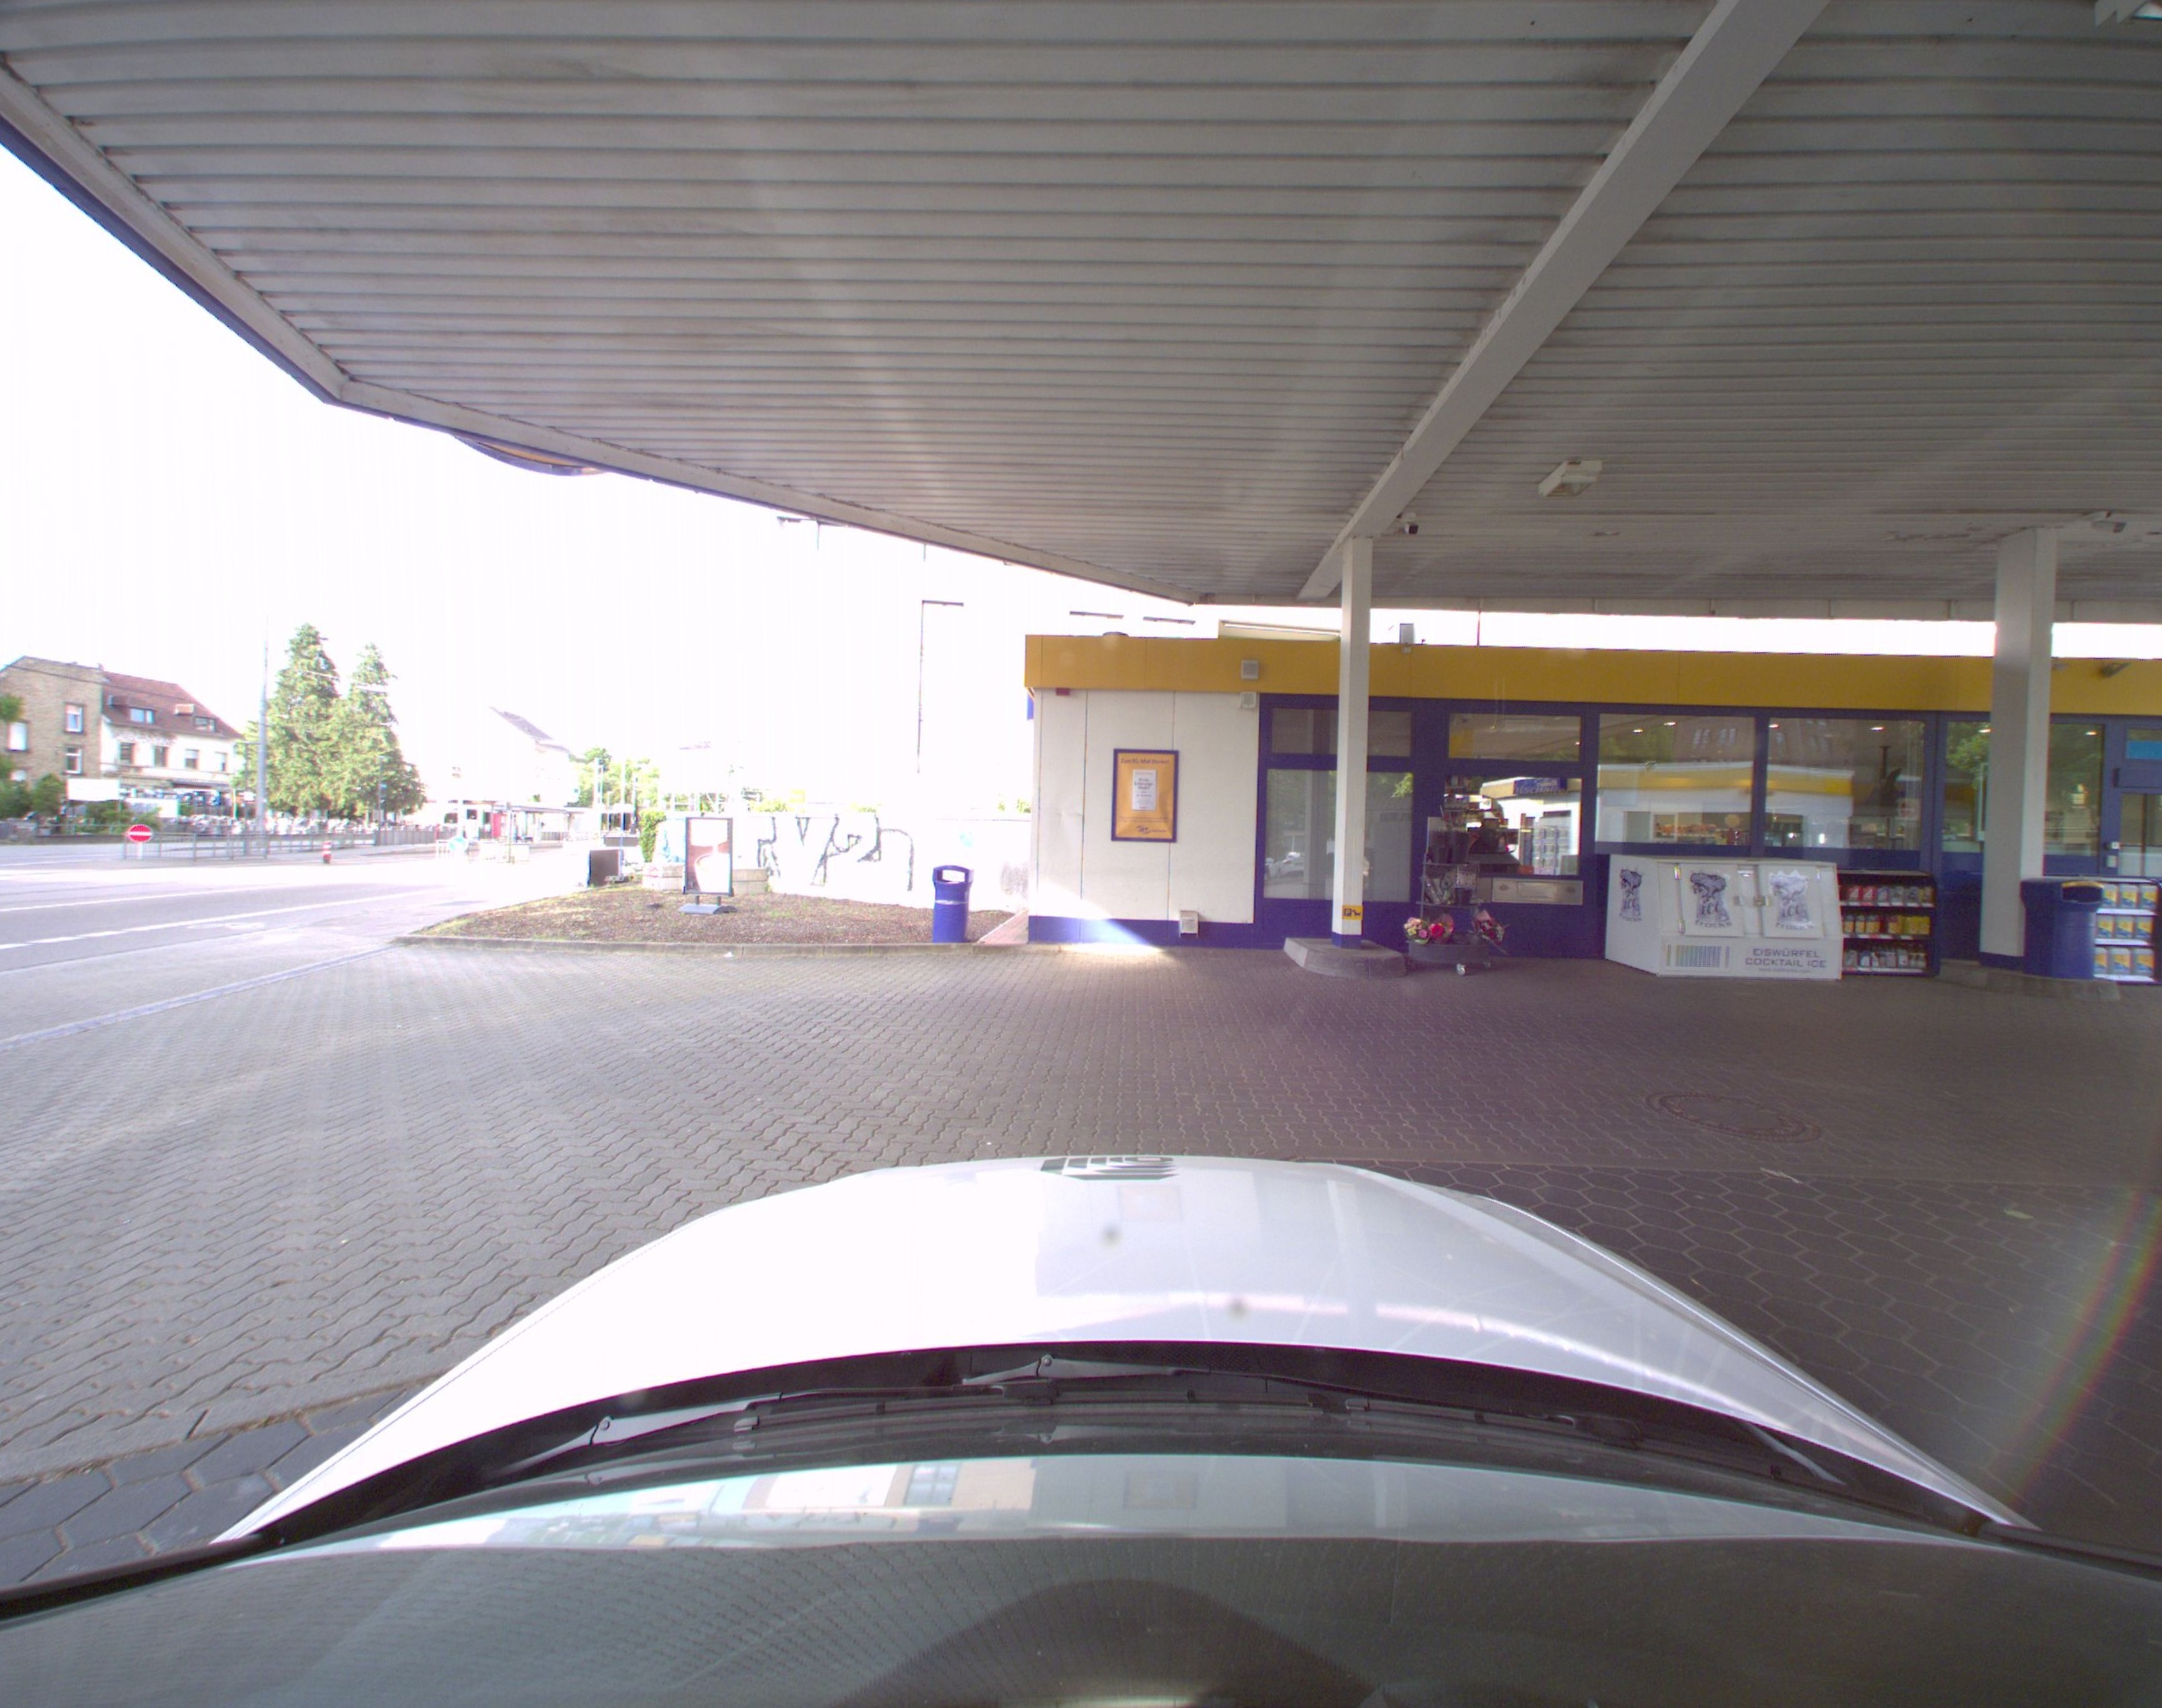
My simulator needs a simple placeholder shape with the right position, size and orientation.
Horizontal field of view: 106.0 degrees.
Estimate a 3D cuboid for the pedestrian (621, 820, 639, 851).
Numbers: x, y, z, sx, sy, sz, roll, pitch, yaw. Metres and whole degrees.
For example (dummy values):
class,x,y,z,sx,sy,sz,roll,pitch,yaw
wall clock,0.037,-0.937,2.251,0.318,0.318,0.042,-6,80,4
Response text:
class,x,y,z,sx,sy,sz,roll,pitch,yaw
pedestrian,-29.681,-1.222,53.608,0.807,2.014,0.846,0,-1,-14
